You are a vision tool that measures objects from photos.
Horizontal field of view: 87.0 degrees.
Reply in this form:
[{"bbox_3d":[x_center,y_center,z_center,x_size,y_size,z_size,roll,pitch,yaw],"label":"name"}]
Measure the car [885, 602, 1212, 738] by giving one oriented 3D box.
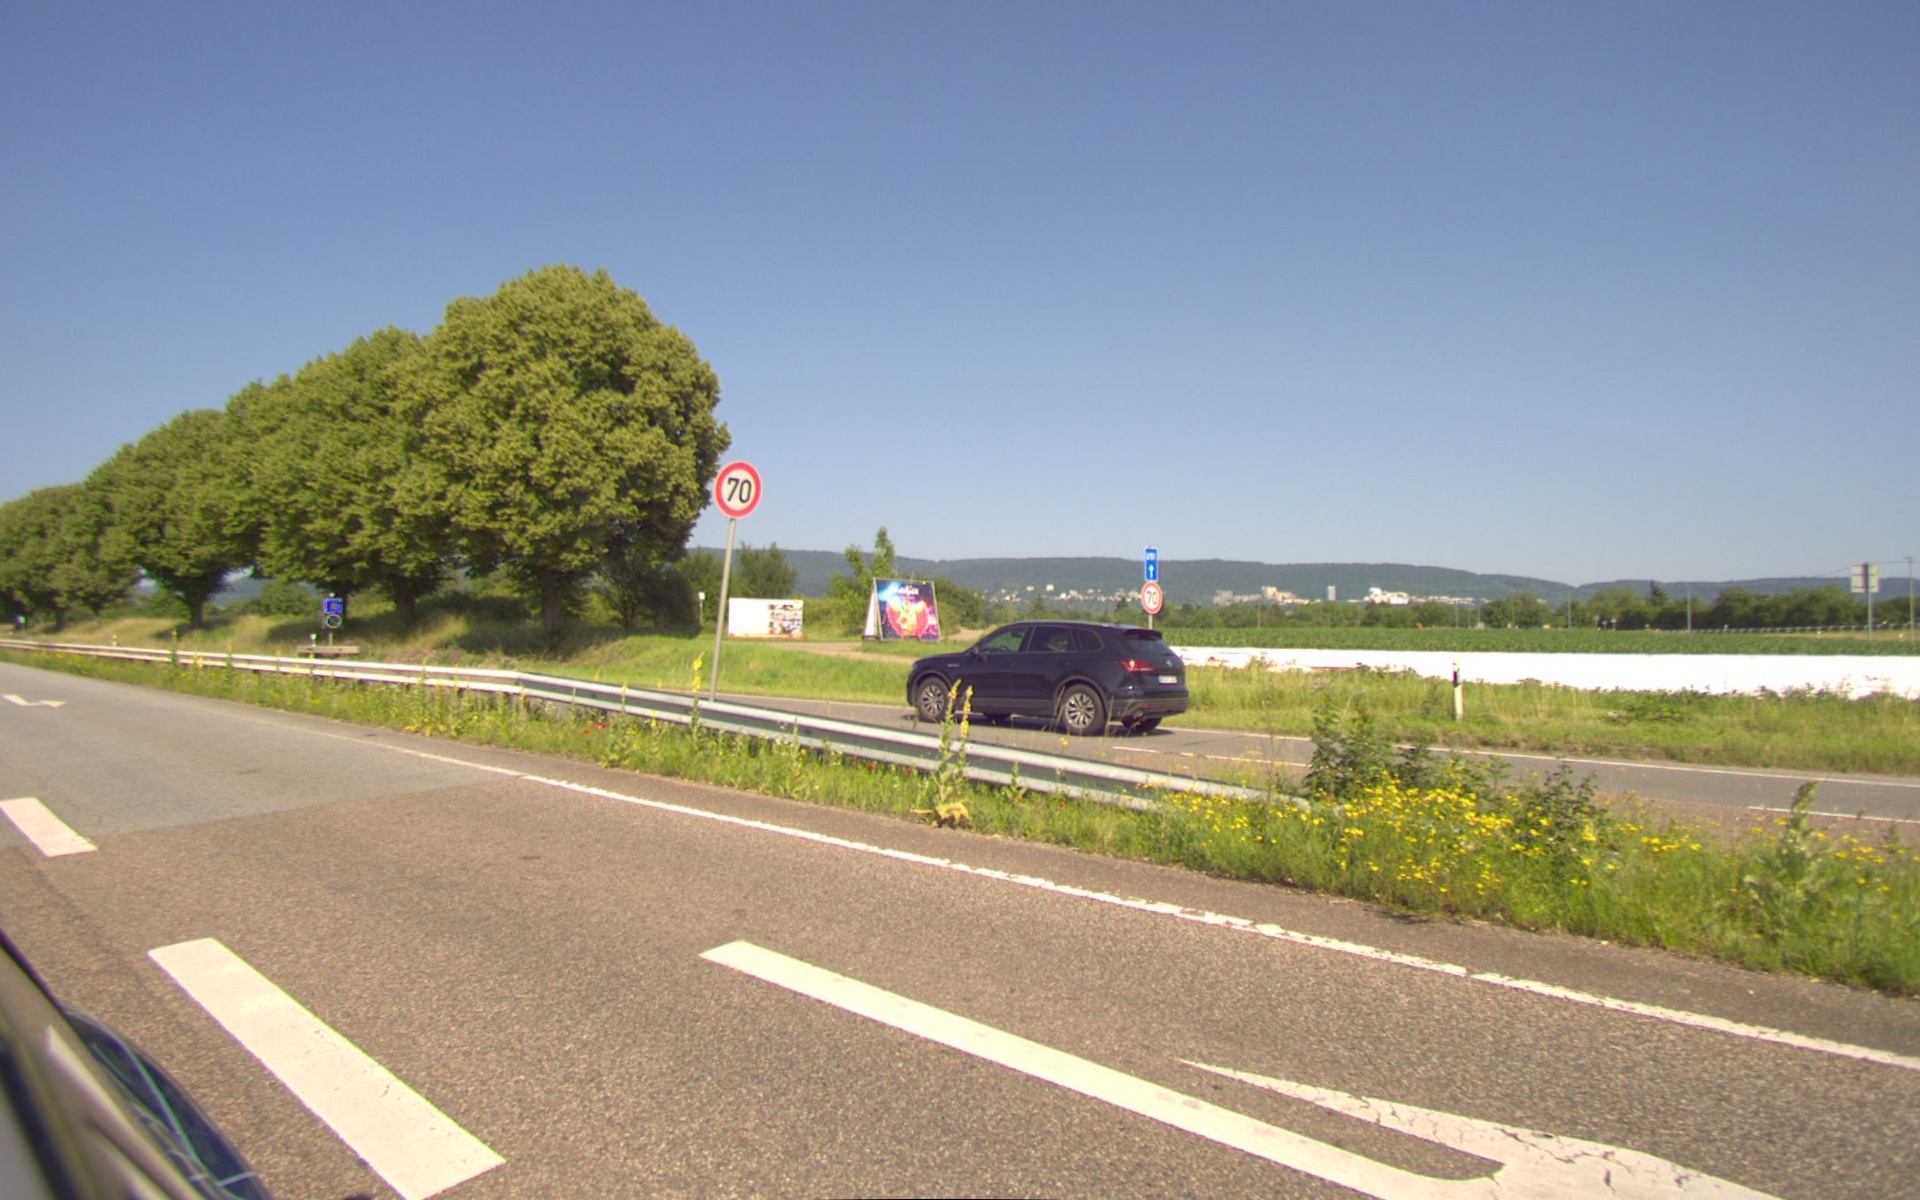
[{"bbox_3d":[1.293,1.055,16.152,4.948,1.854,1.974,-2,-4,39],"label":"car"}]
